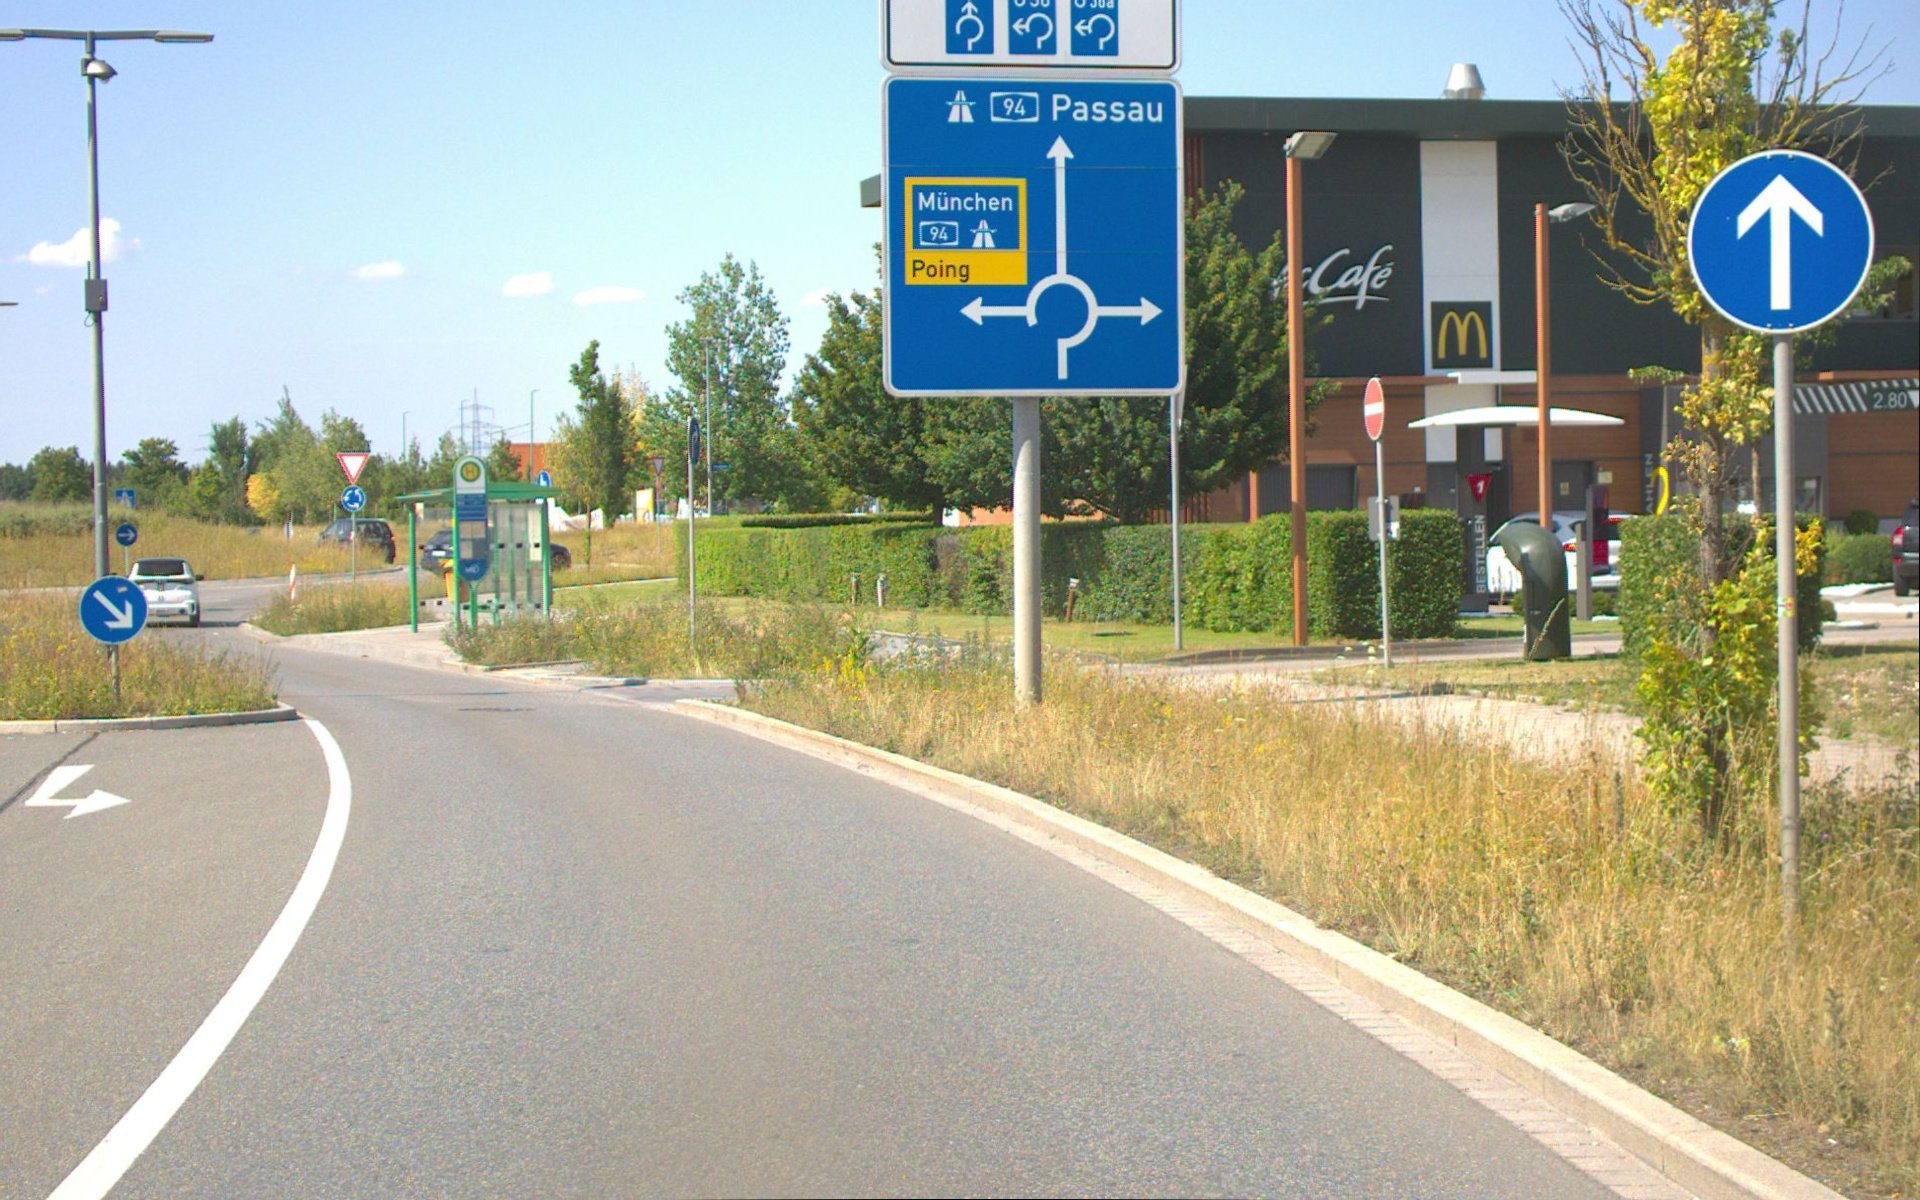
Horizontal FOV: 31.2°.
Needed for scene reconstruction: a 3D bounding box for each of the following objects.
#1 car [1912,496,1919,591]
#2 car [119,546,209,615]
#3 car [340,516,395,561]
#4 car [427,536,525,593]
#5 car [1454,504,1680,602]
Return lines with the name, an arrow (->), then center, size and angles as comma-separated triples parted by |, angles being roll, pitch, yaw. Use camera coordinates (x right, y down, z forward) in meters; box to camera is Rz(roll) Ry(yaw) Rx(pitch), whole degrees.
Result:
car -> 17.380, -1.006, 59.104 | 1.794, 1.599, 3.998 | -1, 1, 14
car -> -17.306, -0.444, 74.651 | 1.616, 1.429, 3.794 | -1, 1, -17
car -> -19.247, -1.989, 111.631 | 1.616, 1.429, 3.793 | -1, 1, -12
car -> -13.305, -0.992, 94.740 | 1.767, 1.512, 3.798 | -1, 1, 6
car -> 9.347, -0.728, 53.223 | 1.792, 1.429, 4.001 | -2, 1, -17
